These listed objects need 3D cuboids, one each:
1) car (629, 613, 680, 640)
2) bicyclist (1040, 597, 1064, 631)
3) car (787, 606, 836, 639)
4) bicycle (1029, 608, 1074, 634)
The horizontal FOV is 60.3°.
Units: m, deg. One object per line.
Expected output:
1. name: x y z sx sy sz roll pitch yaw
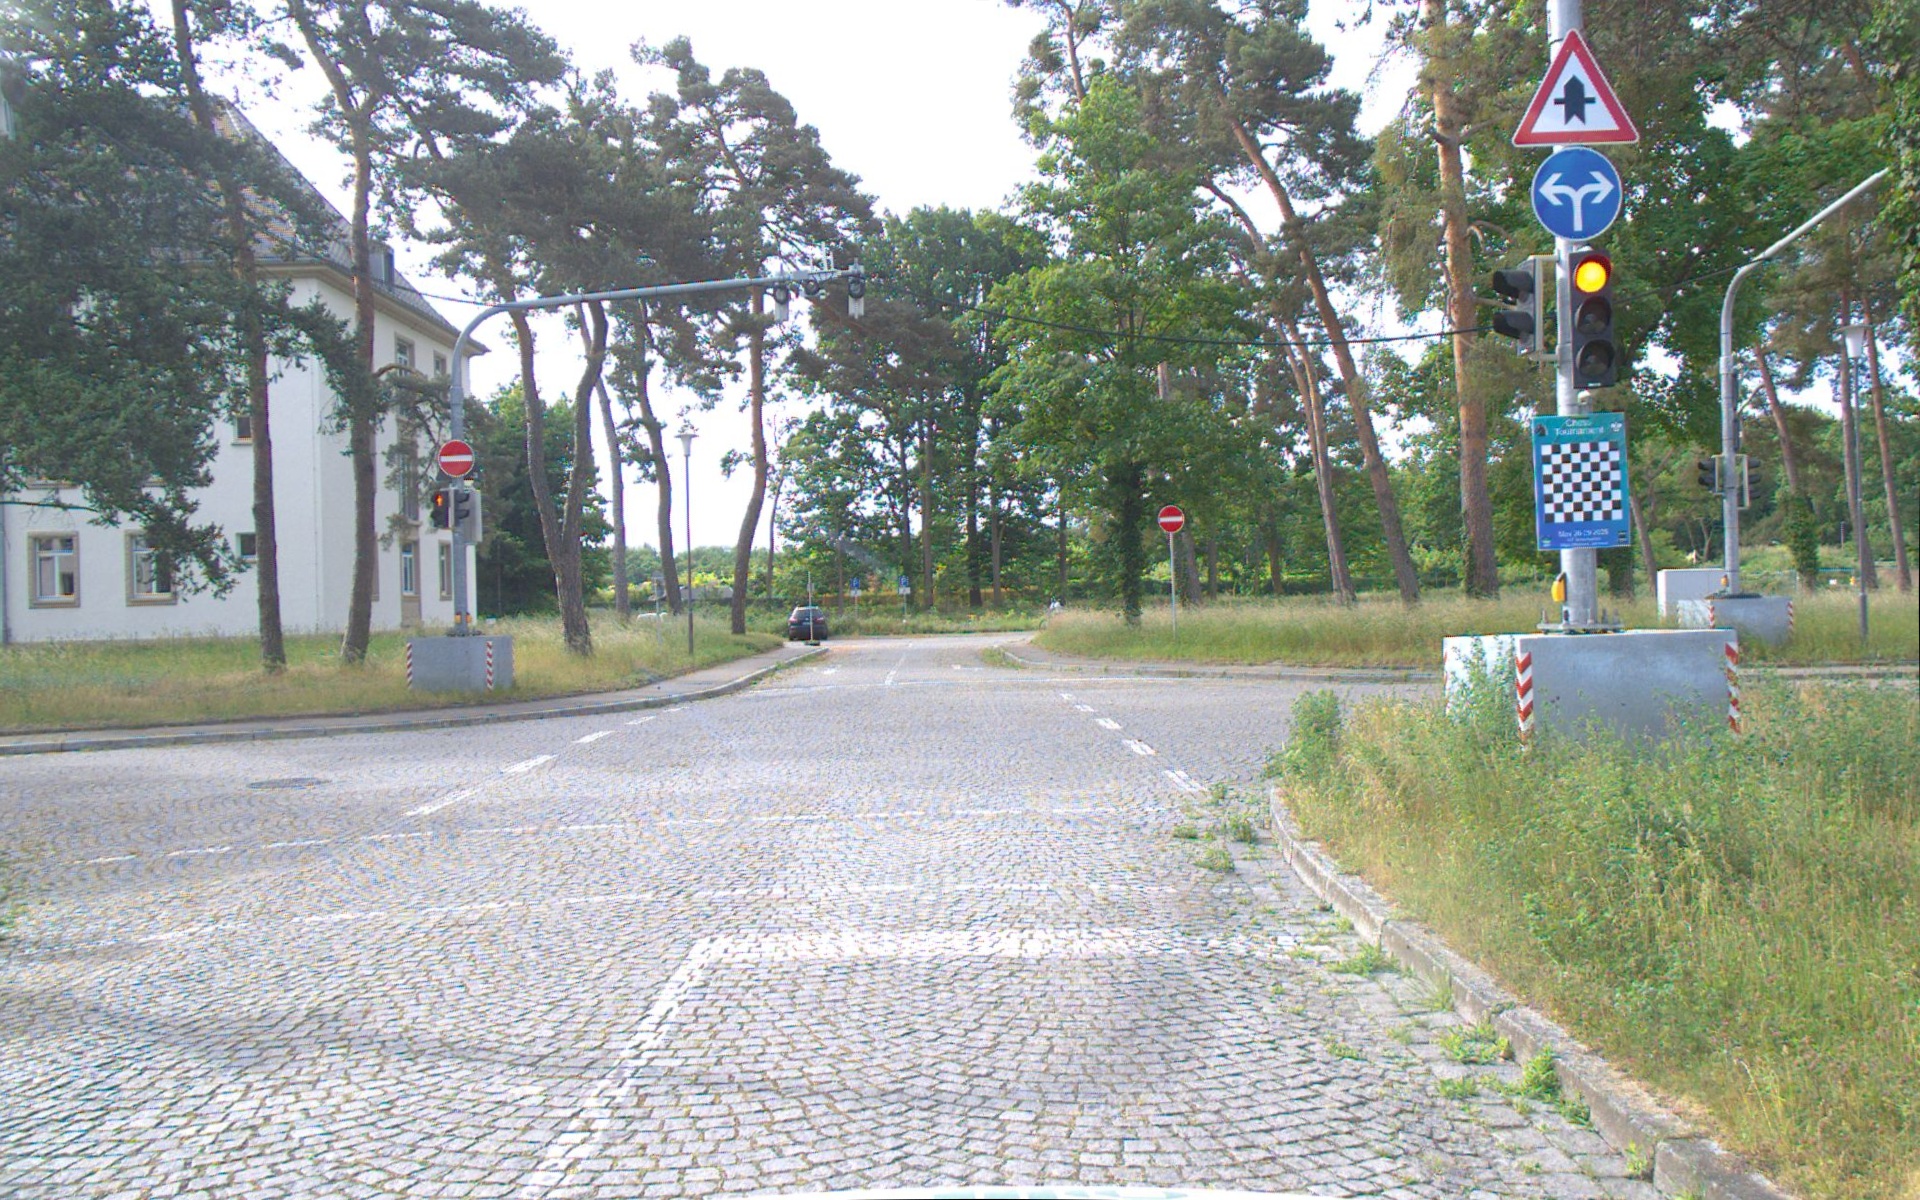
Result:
1. car: -14.600 1.253 79.103 1.654 1.176 4.000 -2 0 0
2. bicyclist: 4.241 0.631 76.476 0.955 1.537 0.807 -2 0 -4
3. car: -7.021 1.051 78.362 1.953 1.534 4.000 0 0 0
4. bicycle: 4.219 0.986 76.479 1.948 1.114 0.809 -2 0 -5
